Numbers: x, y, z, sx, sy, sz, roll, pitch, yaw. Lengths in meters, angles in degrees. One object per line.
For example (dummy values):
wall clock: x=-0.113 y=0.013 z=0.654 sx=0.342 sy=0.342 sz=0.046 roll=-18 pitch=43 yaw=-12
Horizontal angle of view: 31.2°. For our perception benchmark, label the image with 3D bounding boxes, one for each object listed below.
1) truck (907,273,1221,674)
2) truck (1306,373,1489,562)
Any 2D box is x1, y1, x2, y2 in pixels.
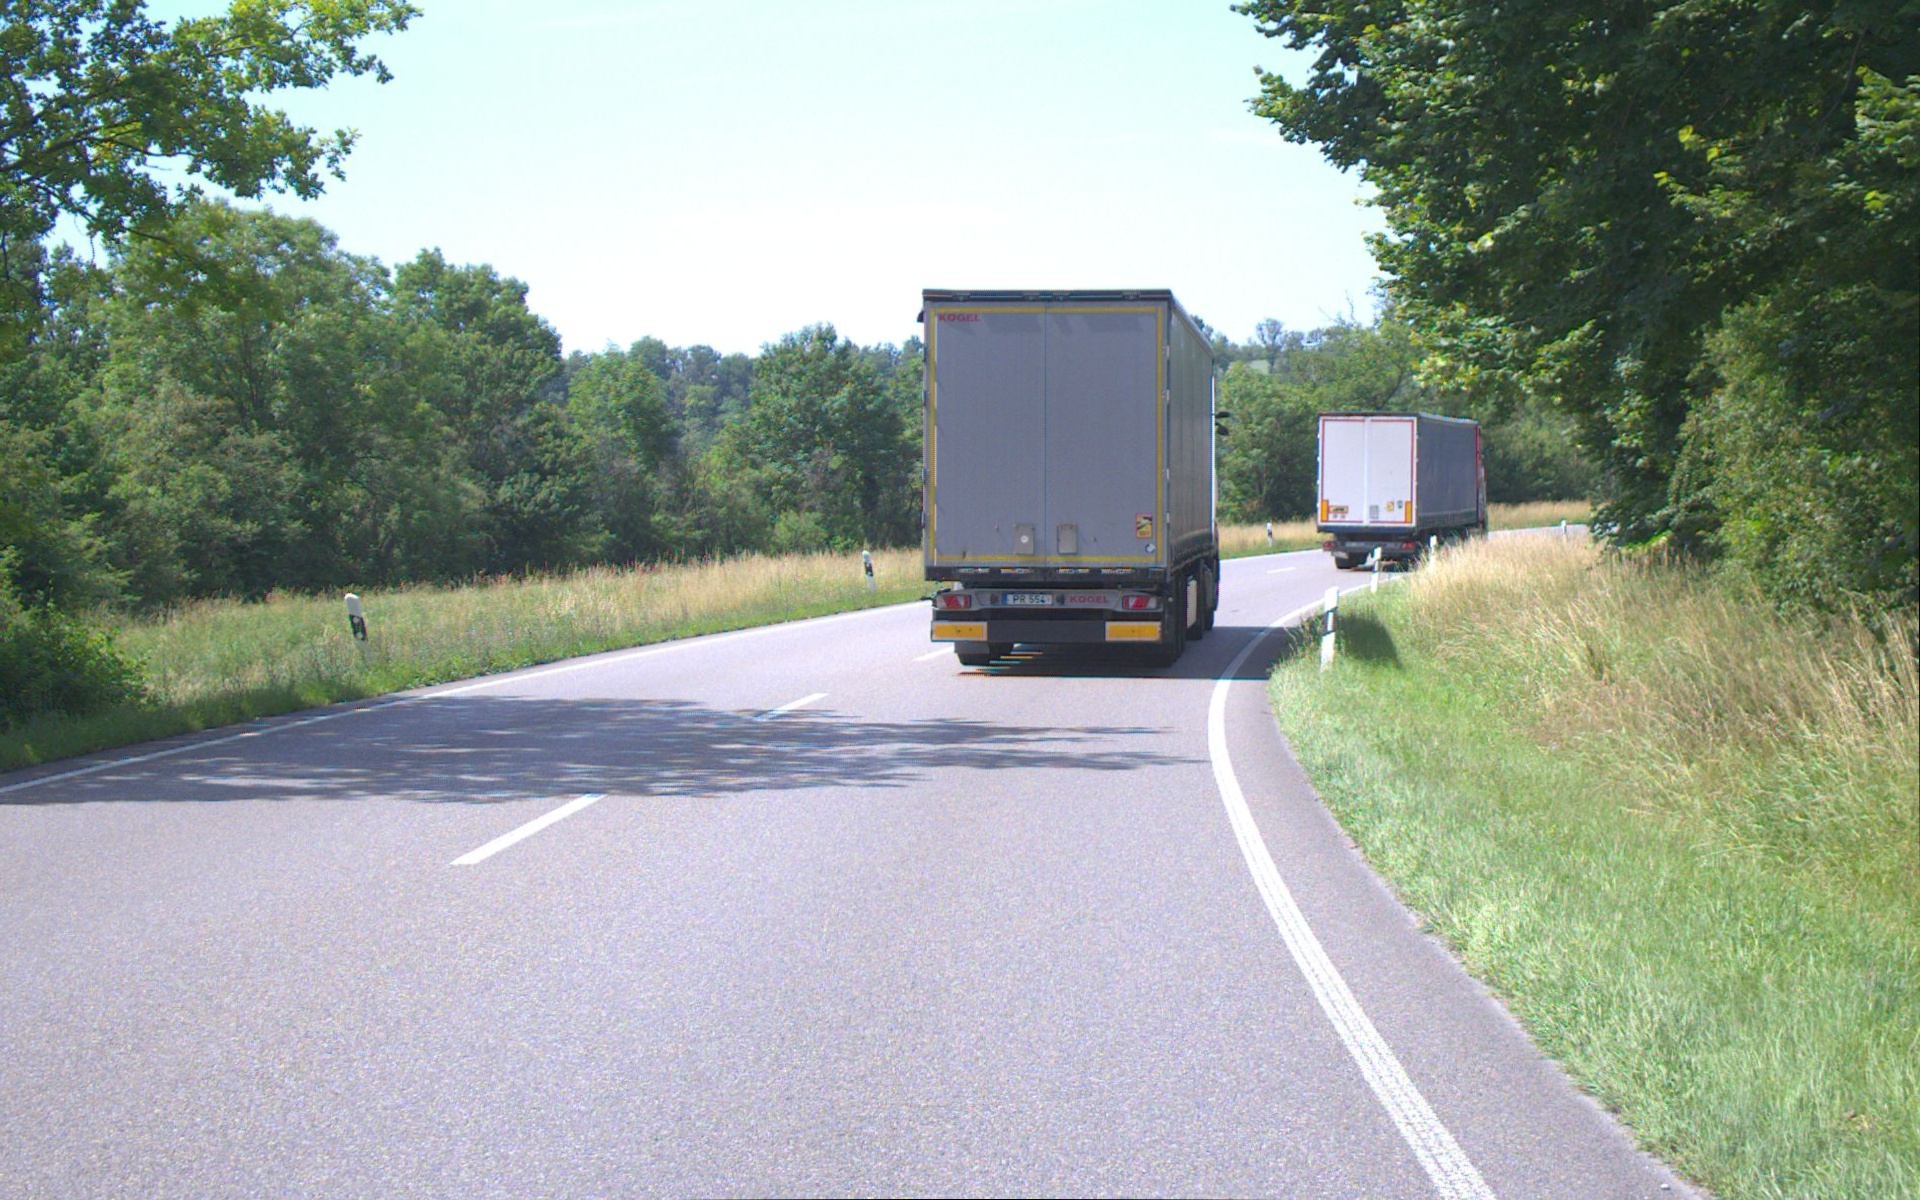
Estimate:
truck: x=1.628 y=-1.476 z=42.540 sx=2.802 sy=4.054 sz=15.323 roll=1 pitch=1 yaw=6
truck: x=12.216 y=-3.534 z=94.306 sx=3.107 sy=4.689 sz=16.579 roll=0 pitch=1 yaw=14
